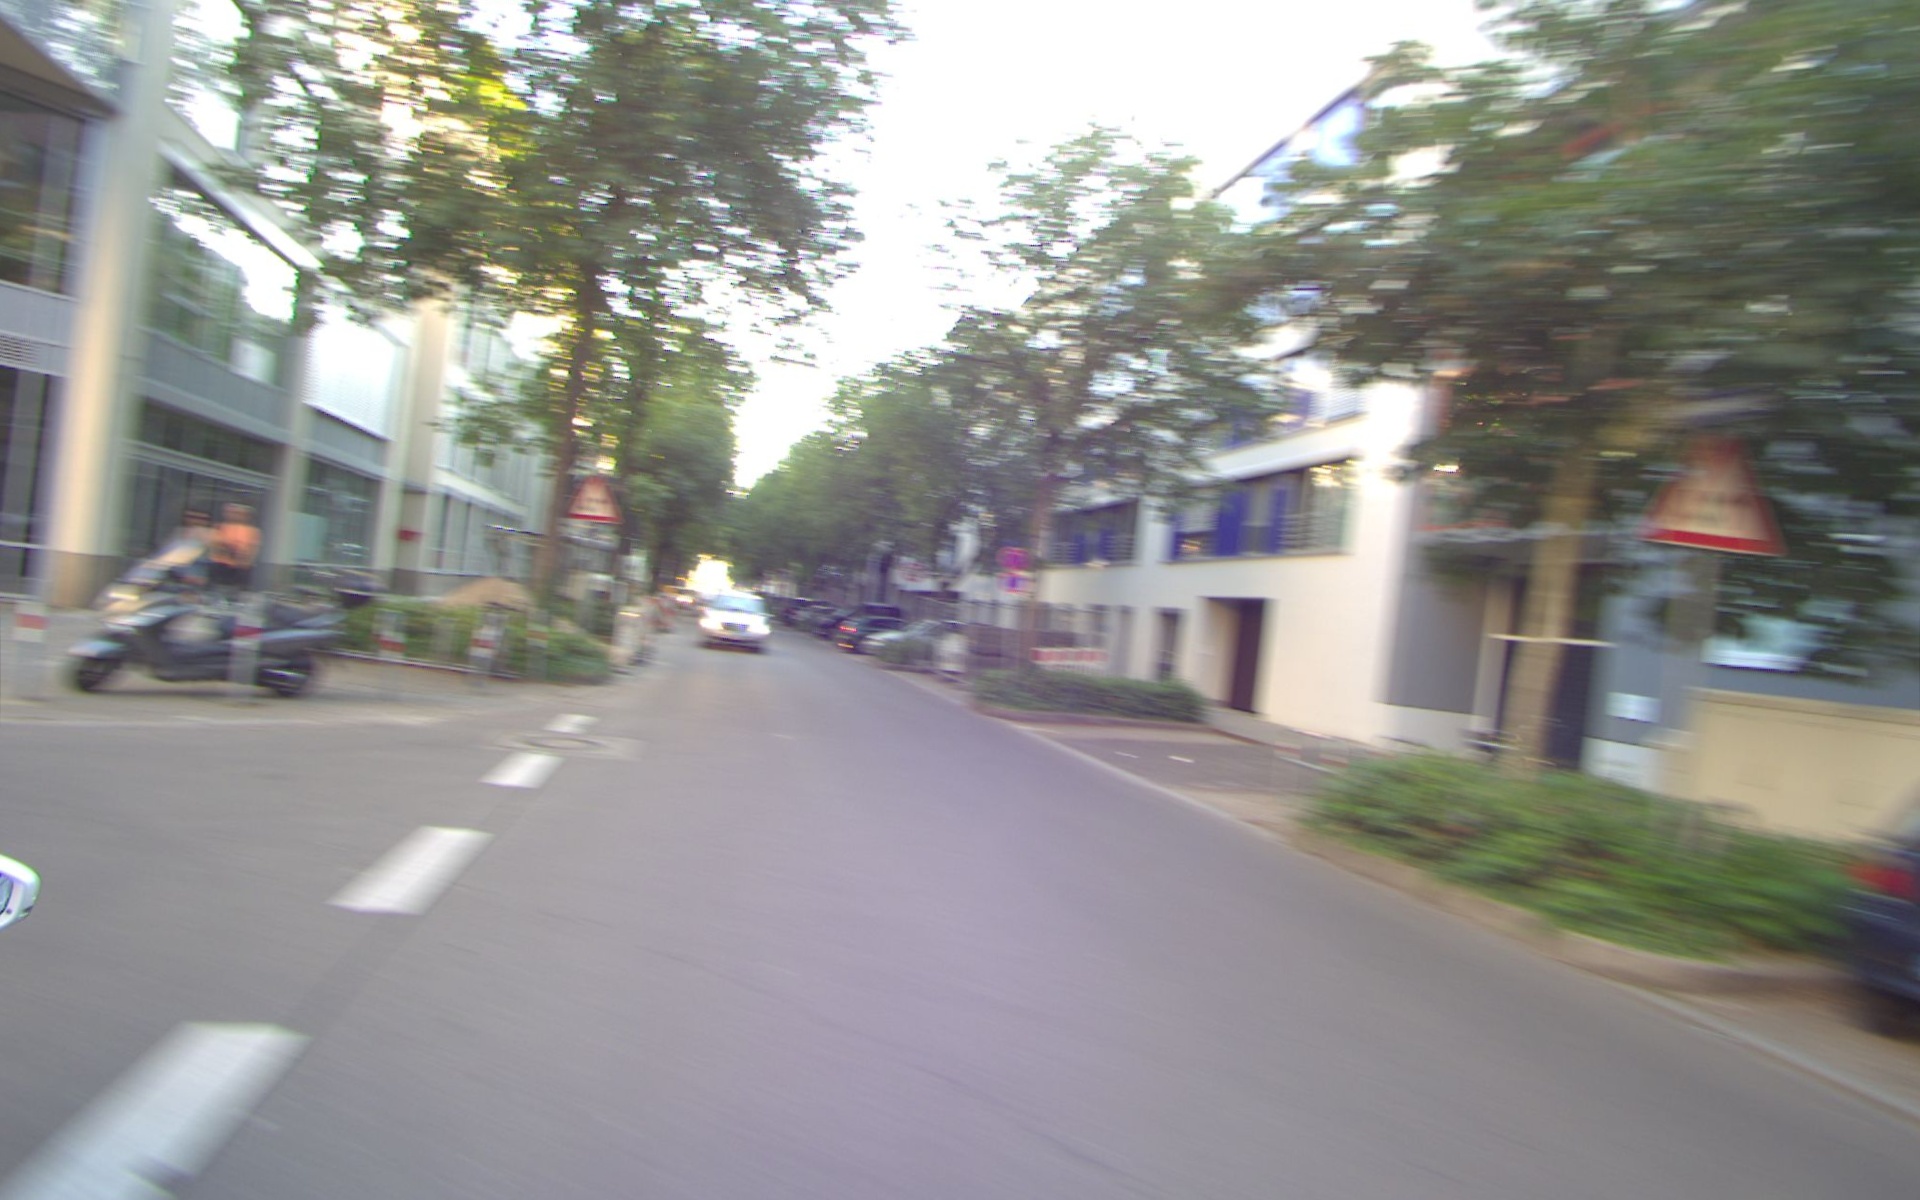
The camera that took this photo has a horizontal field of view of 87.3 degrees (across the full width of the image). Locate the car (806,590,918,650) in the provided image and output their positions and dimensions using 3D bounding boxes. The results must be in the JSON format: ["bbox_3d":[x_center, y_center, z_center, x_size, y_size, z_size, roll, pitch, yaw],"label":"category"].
[{"bbox_3d":[-4.580,0.925,46.856,4.684,2.037,1.993,9,-1,-16],"label":"car"}]

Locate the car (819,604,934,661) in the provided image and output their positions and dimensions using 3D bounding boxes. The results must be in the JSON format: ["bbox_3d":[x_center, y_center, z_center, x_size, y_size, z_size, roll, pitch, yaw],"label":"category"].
[{"bbox_3d":[-3.169,1.205,37.919,3.937,1.604,1.995,8,-1,-14],"label":"car"}]

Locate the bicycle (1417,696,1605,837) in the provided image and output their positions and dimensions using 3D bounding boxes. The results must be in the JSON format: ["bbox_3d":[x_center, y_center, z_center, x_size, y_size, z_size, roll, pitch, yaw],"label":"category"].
[{"bbox_3d":[6.289,1.869,11.621,0.817,1.250,1.799,7,0,-11],"label":"bicycle"}]

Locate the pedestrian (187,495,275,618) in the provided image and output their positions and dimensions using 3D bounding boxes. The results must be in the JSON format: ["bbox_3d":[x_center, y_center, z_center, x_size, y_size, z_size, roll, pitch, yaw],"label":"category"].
[{"bbox_3d":[-10.830,-0.631,14.964,0.730,1.711,0.605,7,0,-14],"label":"pedestrian"}]

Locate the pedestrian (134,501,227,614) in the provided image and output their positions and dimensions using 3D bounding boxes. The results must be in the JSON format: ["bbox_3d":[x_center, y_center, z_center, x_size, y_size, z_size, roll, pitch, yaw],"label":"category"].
[{"bbox_3d":[-11.593,-0.624,14.991,0.760,1.554,0.641,7,0,-15],"label":"pedestrian"}]

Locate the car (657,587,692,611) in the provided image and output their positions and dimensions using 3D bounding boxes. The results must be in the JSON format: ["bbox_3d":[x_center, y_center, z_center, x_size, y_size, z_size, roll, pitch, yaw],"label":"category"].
[{"bbox_3d":[-20.048,-0.100,70.585,1.972,1.303,3.983,8,-1,-19],"label":"car"}]

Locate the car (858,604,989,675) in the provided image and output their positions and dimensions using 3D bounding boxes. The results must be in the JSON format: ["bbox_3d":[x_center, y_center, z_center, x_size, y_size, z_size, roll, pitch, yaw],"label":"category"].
[{"bbox_3d":[-1.265,1.289,33.709,3.935,1.826,1.996,8,-1,-12],"label":"car"}]

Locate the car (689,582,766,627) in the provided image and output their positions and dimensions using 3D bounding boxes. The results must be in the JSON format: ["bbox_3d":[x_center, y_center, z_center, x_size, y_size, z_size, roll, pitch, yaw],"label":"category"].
[{"bbox_3d":[-10.477,0.256,45.747,1.919,1.734,4.704,7,-1,4],"label":"car"}]

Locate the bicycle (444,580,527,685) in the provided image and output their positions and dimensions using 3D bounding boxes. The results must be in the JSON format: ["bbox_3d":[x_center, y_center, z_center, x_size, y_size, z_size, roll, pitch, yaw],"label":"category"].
[{"bbox_3d":[-6.083,0.379,12.987,0.676,1.167,1.971,7,0,-20],"label":"bicycle"}]

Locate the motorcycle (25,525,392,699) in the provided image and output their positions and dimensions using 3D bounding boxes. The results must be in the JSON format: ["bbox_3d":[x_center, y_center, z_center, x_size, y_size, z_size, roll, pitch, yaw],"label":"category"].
[{"bbox_3d":[-6.661,0.168,9.076,1.050,1.297,2.350,7,0,34],"label":"motorcycle"}]

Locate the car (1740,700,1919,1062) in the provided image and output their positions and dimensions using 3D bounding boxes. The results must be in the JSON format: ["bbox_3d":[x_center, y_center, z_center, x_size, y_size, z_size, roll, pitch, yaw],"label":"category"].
[{"bbox_3d":[6.175,1.558,4.984,3.496,1.582,1.826,8,-1,-16],"label":"car"}]

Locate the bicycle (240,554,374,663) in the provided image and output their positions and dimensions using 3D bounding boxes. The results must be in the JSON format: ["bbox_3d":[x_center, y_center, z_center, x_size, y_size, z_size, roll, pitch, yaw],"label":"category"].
[{"bbox_3d":[-7.991,0.079,12.425,0.674,1.167,1.975,7,0,-14],"label":"bicycle"}]

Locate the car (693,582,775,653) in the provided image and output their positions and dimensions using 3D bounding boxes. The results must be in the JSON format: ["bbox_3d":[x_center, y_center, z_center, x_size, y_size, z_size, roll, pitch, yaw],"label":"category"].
[{"bbox_3d":[-6.586,0.446,29.036,1.985,1.632,4.107,7,0,-15],"label":"car"}]

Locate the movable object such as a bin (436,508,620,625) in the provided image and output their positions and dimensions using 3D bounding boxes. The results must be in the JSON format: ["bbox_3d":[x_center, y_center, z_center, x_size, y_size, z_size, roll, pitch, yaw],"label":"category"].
[{"bbox_3d":[-11.255,-0.843,26.545,4.004,2.412,2.771,7,0,-21],"label":"movable object such as a bin"}]
